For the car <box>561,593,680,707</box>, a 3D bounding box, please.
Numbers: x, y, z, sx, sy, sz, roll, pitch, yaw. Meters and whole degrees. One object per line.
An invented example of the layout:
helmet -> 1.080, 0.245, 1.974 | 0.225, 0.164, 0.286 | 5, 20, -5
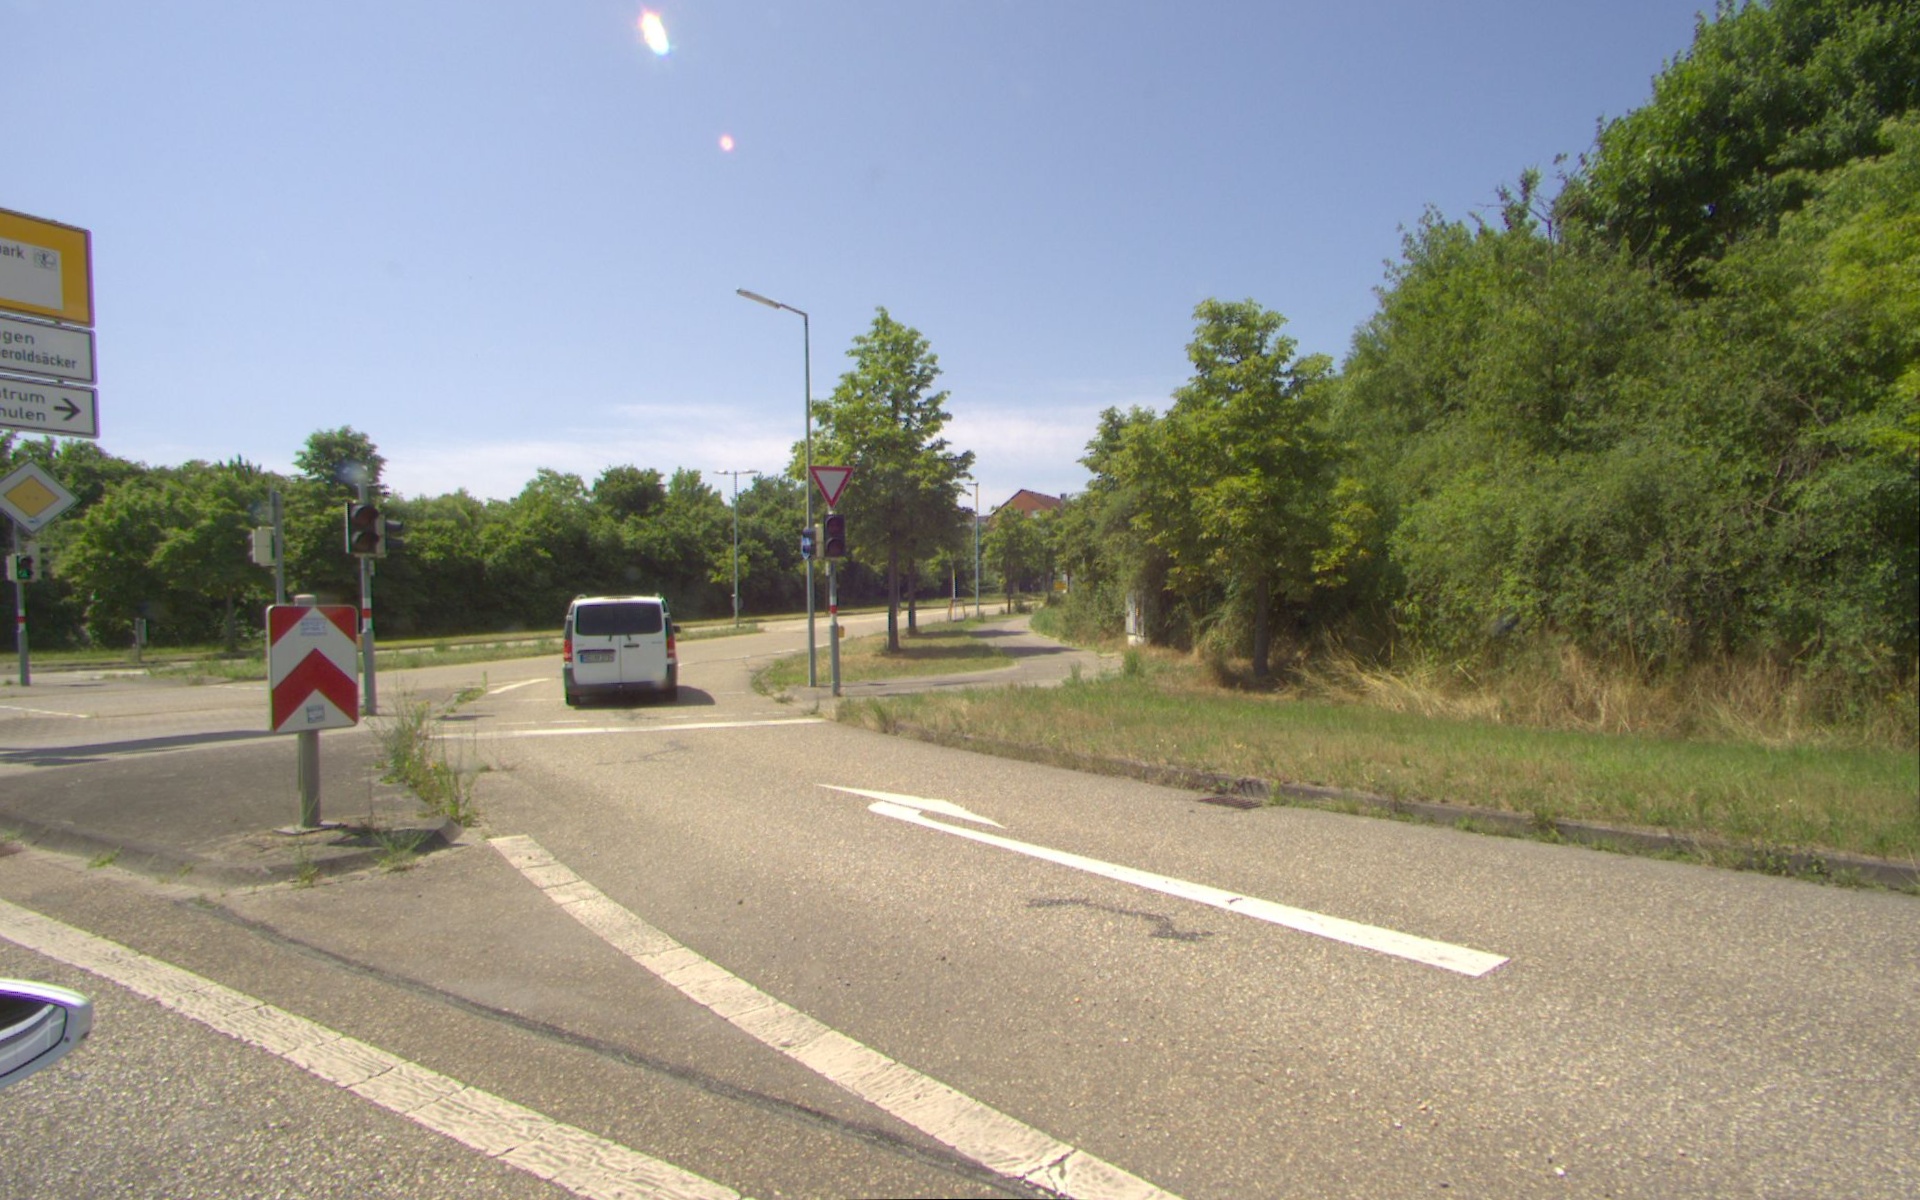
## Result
car -> -6.311, 0.833, 18.716 | 1.834, 1.842, 4.897 | 0, -1, -19
